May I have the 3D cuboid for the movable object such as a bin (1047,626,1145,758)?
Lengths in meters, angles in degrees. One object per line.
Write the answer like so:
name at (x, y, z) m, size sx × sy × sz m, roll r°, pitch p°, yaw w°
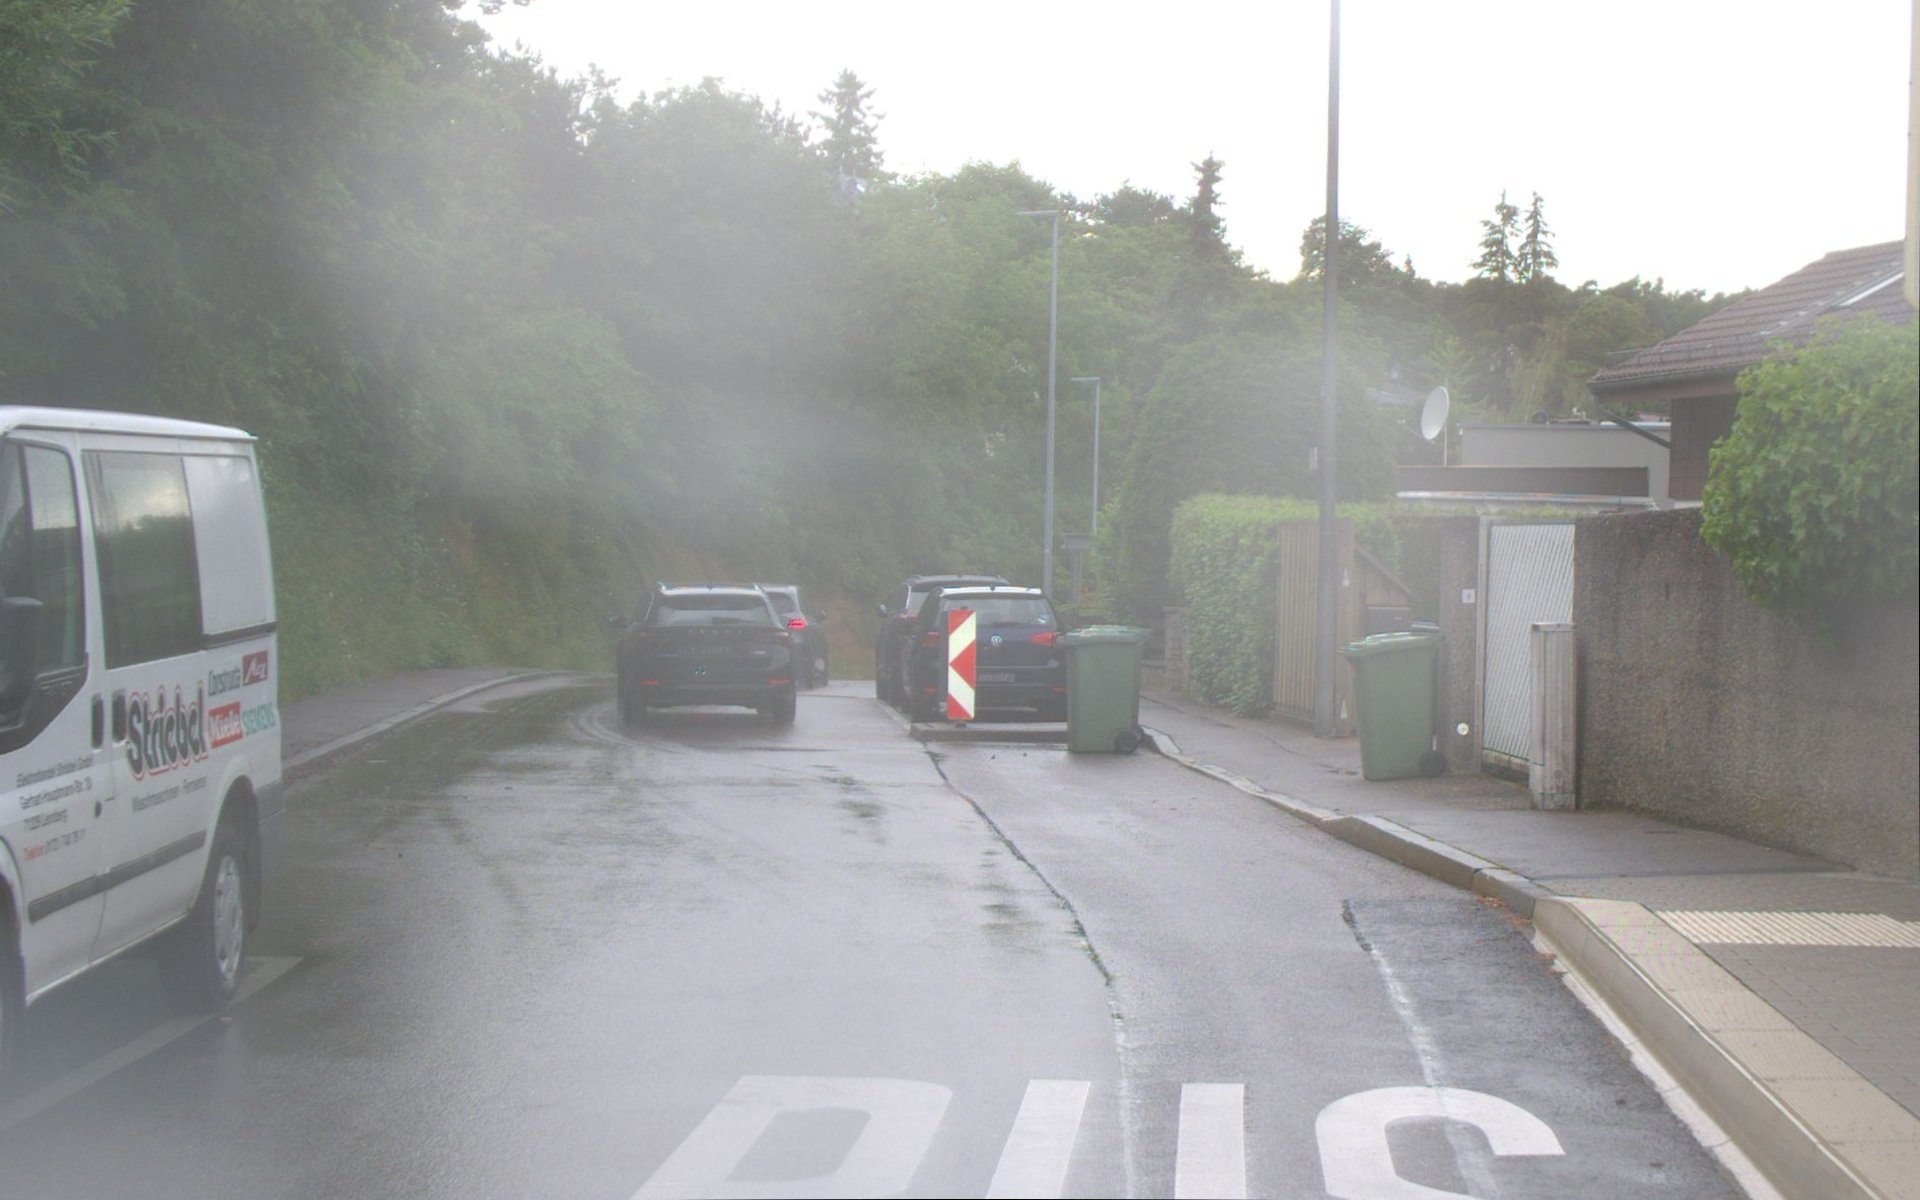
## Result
movable object such as a bin at (1.166, 0.786, 29.557) m, size 0.715 × 1.092 × 0.656 m, roll 1°, pitch 0°, yaw -8°

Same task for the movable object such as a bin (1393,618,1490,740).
movable object such as a bin at (4.570, 0.747, 32.593) m, size 0.748 × 1.100 × 0.819 m, roll 4°, pitch 0°, yaw 16°

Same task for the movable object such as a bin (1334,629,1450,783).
movable object such as a bin at (3.150, 0.769, 25.107) m, size 0.739 × 1.085 × 0.600 m, roll -1°, pitch 1°, yaw -1°

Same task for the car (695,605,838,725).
car at (-2.853, 0.927, 51.124) m, size 1.993 × 1.600 × 4.409 m, roll 1°, pitch 1°, yaw -2°

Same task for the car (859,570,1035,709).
car at (-0.216, 0.445, 42.443) m, size 1.875 × 1.586 × 4.480 m, roll 1°, pitch 0°, yaw -4°

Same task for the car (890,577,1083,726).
car at (0.226, 0.514, 37.345) m, size 1.755 × 1.457 × 4.301 m, roll 1°, pitch 1°, yaw -4°

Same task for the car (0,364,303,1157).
car at (-3.438, 0.377, 9.904) m, size 2.111 × 1.968 × 5.173 m, roll 0°, pitch 1°, yaw 0°

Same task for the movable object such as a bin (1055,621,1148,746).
movable object such as a bin at (1.260, 0.742, 30.711) m, size 0.729 × 1.075 × 0.661 m, roll 1°, pitch 0°, yaw -5°

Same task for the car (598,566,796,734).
car at (-2.790, 0.576, 35.935) m, size 1.868 × 1.507 × 4.092 m, roll 3°, pitch -3°, yaw -5°
